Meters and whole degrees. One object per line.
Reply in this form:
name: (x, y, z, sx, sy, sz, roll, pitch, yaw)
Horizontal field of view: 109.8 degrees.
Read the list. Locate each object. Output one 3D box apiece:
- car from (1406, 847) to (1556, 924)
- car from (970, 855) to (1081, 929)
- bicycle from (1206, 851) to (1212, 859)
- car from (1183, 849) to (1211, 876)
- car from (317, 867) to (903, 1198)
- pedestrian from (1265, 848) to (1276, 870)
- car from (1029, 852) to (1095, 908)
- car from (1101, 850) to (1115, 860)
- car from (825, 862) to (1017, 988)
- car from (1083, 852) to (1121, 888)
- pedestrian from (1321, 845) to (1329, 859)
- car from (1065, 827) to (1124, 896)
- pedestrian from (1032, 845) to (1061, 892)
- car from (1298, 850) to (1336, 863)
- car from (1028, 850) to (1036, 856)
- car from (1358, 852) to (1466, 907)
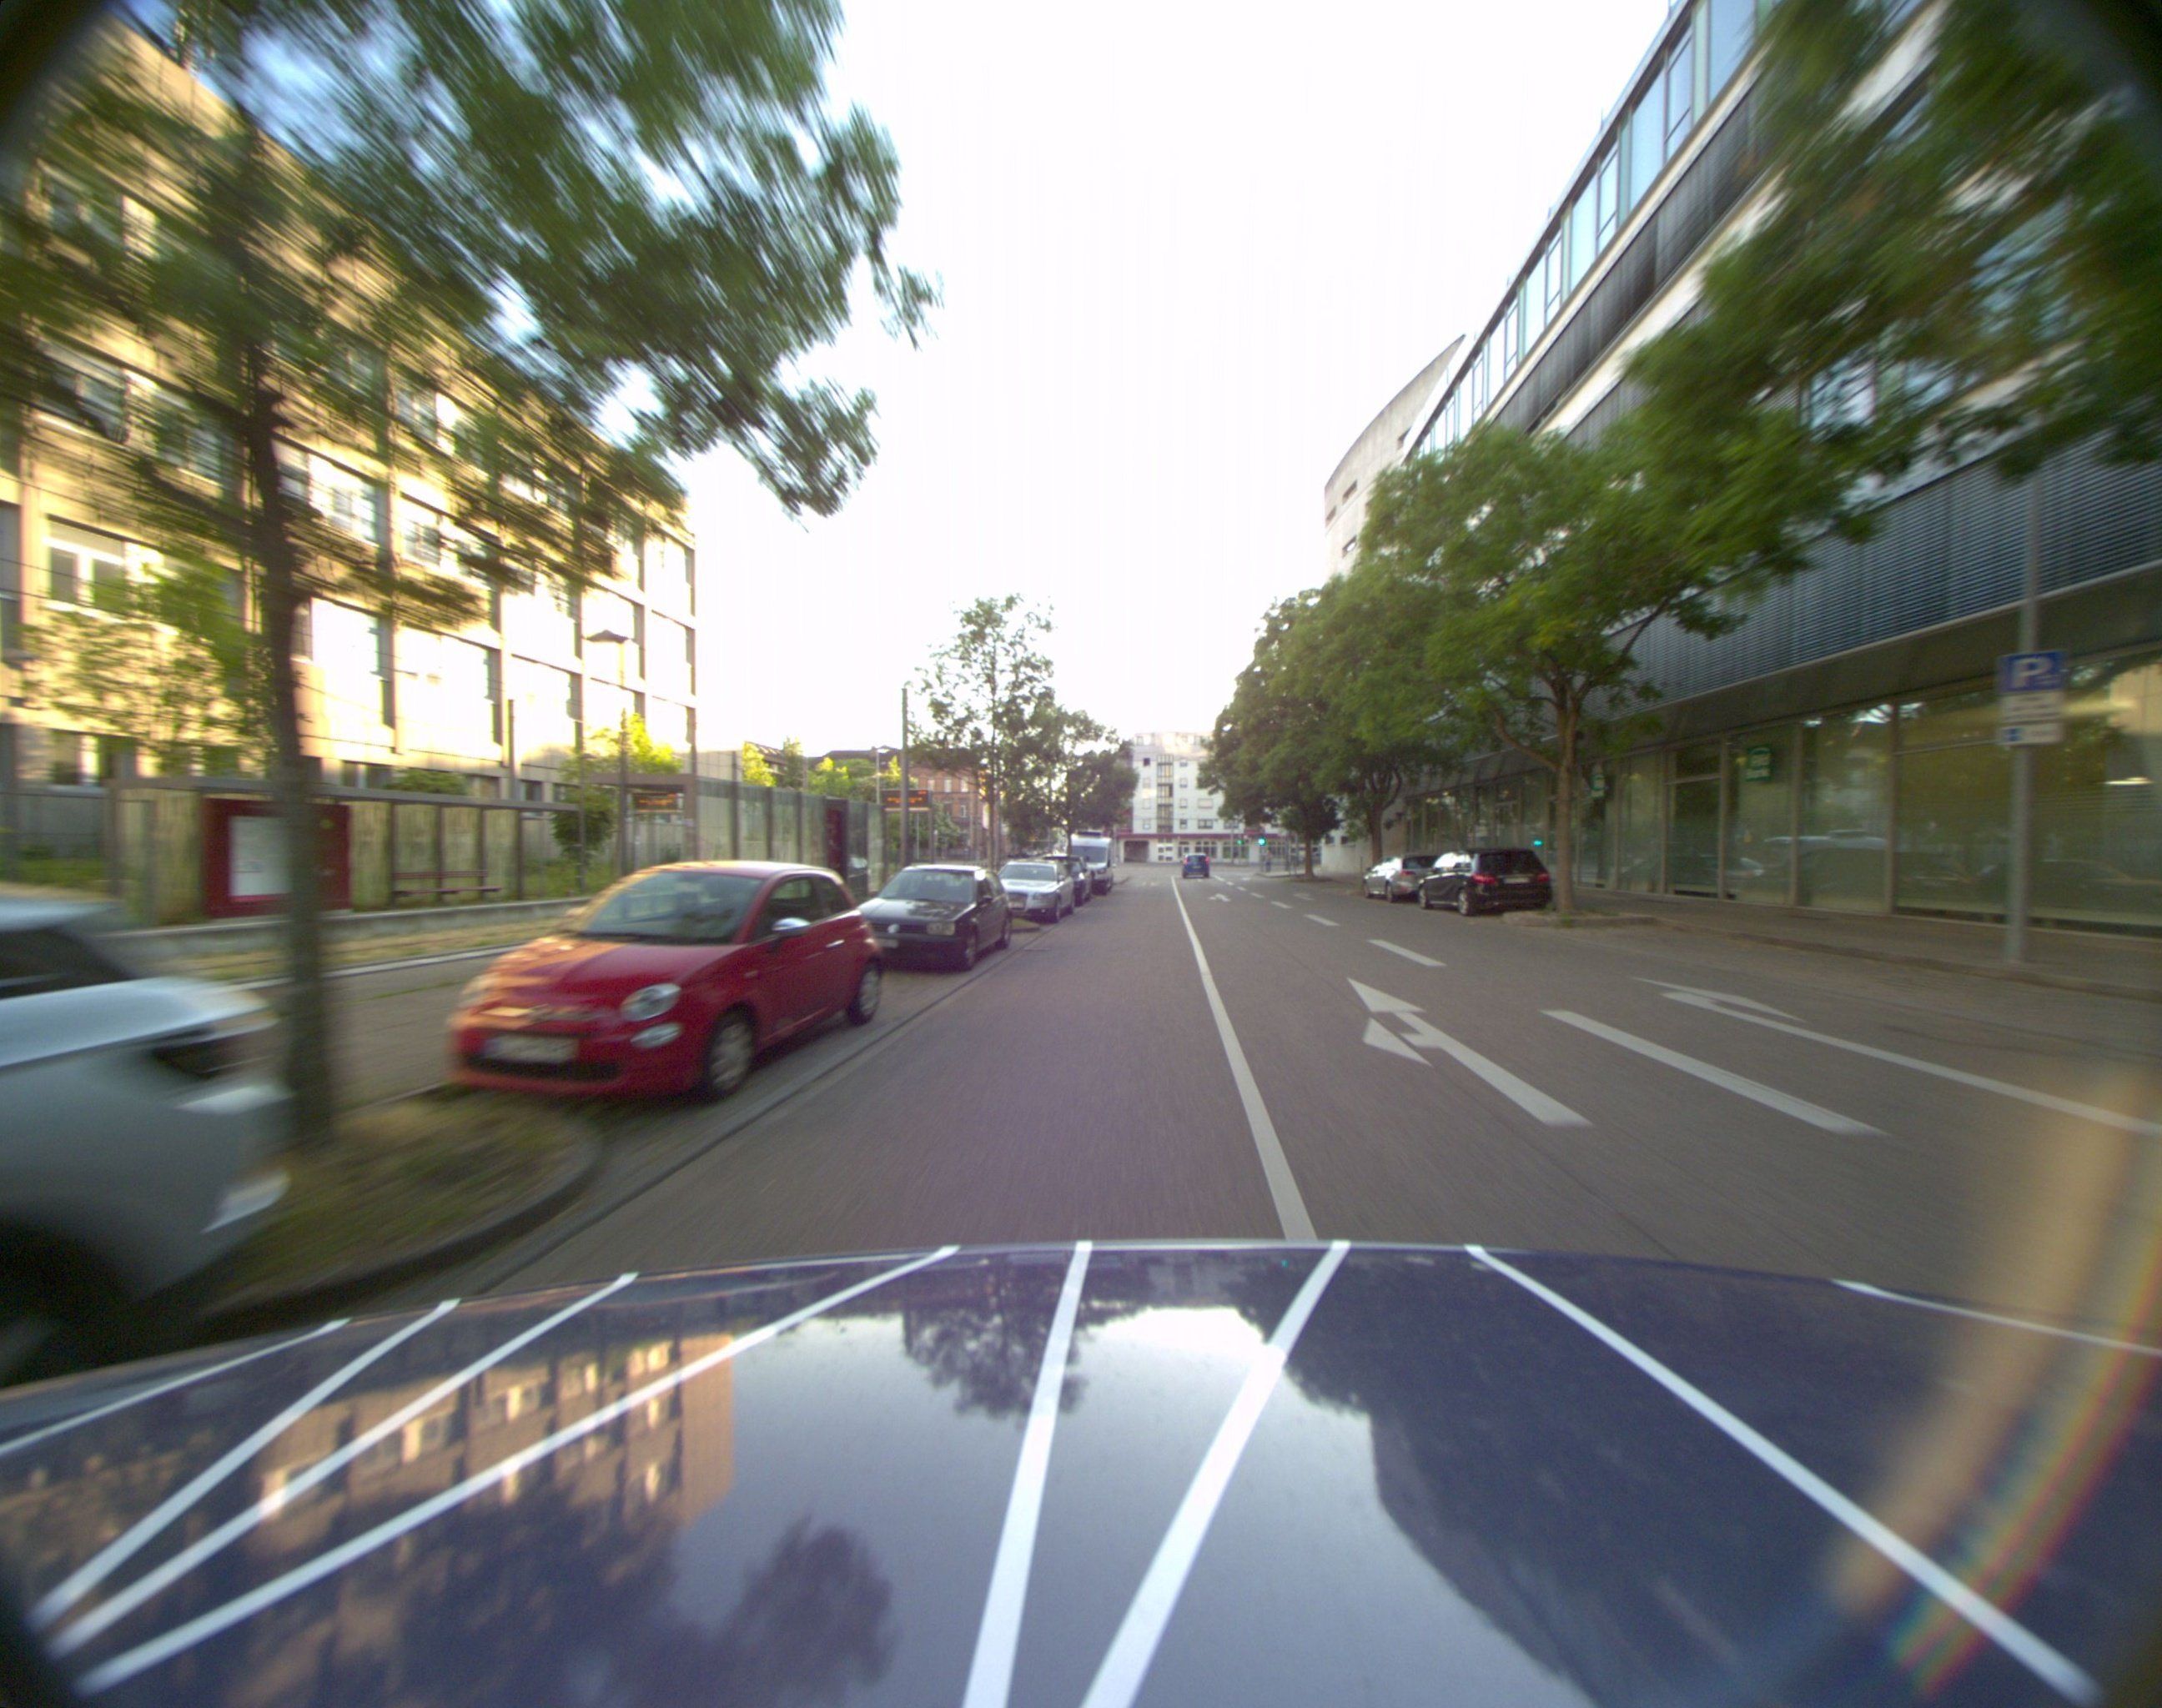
car: (9.476, 0.663, 18.424, 1.593, 1.559, 4.473, -3, 0, 6)
car: (-1.237, 0.848, 19.217, 1.799, 1.487, 4.783, 3, 1, 7)
bicycle: (16.454, 0.140, 97.639, 0.515, 1.040, 1.903, 0, 1, 3)
car: (7.848, 0.540, 51.638, 1.751, 1.668, 4.275, -1, 1, 7)
car: (-2.909, 0.931, 5.913, 1.711, 1.484, 4.132, 2, 1, 5)
pedestrian: (14.656, 0.385, 58.761, 0.545, 1.691, 0.709, 1, 1, 33)
car: (-0.547, 0.804, 25.878, 1.711, 1.634, 4.268, 2, 1, 5)
car: (3.887, 0.108, 109.233, 2.006, 1.448, 4.297, 0, 1, 2)
car: (-2.189, 0.908, 11.541, 1.711, 1.443, 4.001, 2, 1, 5)
car: (1.116, 0.773, 38.845, 1.752, 1.574, 4.013, 3, 1, 3)
pedestrian: (31.489, -0.231, 97.910, 0.834, 1.796, 0.692, 0, 1, 7)
car: (0.680, 0.263, 32.845, 2.055, 2.642, 5.435, 3, 1, 5)
pedestrian: (-1.500, 0.604, 33.151, 0.981, 2.002, 0.805, -1, 1, -39)
car: (28.402, 0.278, 91.556, 4.097, 1.587, 1.667, 0, 1, 6)
car: (-12.554, -0.309, 194.936, 1.786, 1.448, 4.294, 0, 1, -5)
car: (10.134, 0.710, 23.664, 1.707, 1.453, 4.628, -3, 0, 6)
